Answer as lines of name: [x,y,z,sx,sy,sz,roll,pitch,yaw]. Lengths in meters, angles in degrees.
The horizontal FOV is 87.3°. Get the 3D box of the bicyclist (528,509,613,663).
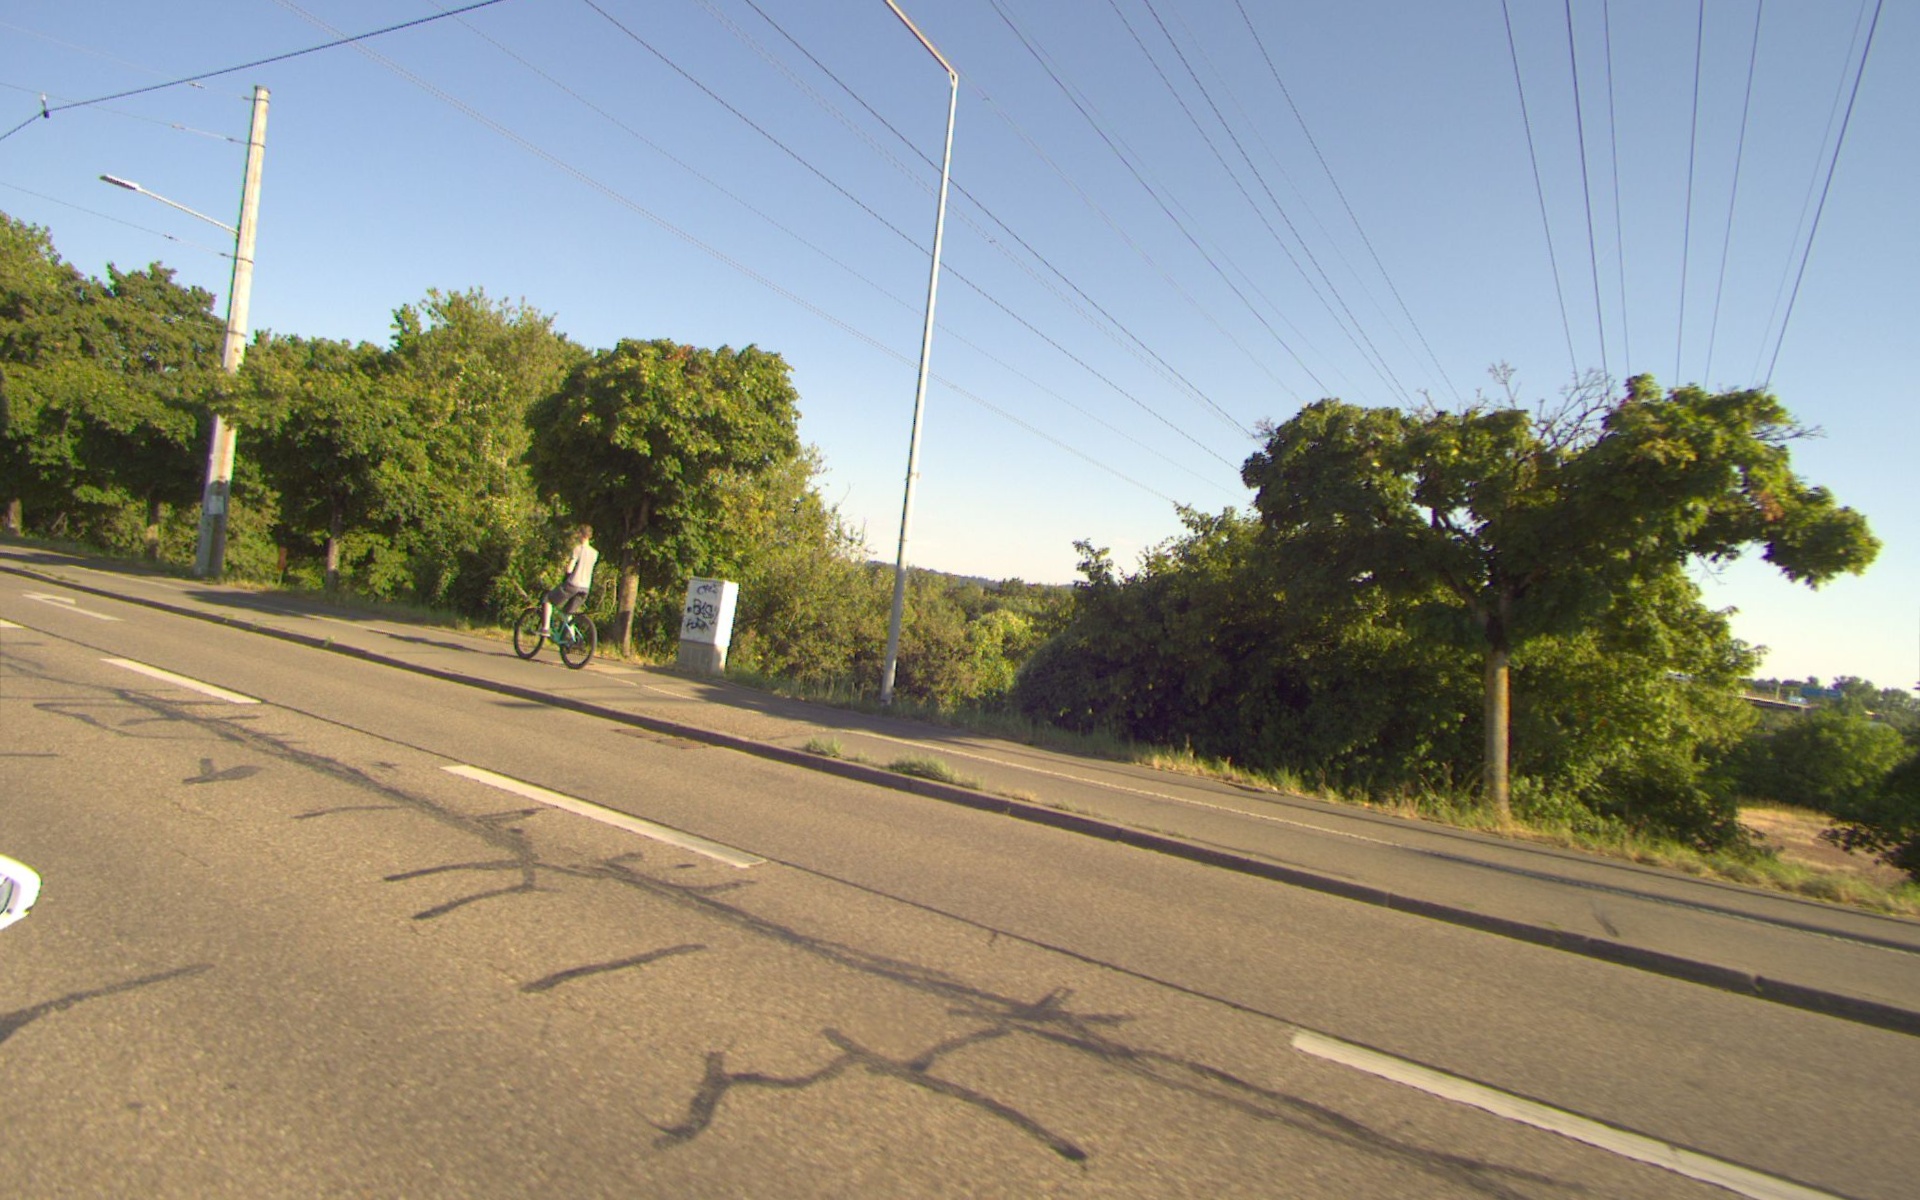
bicyclist: [-5.423,-0.198,14.005,0.717,2.039,0.528,6,-2,32]

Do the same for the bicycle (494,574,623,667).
bicycle: [-5.654,0.277,14.111,1.939,1.072,0.528,6,-3,32]
